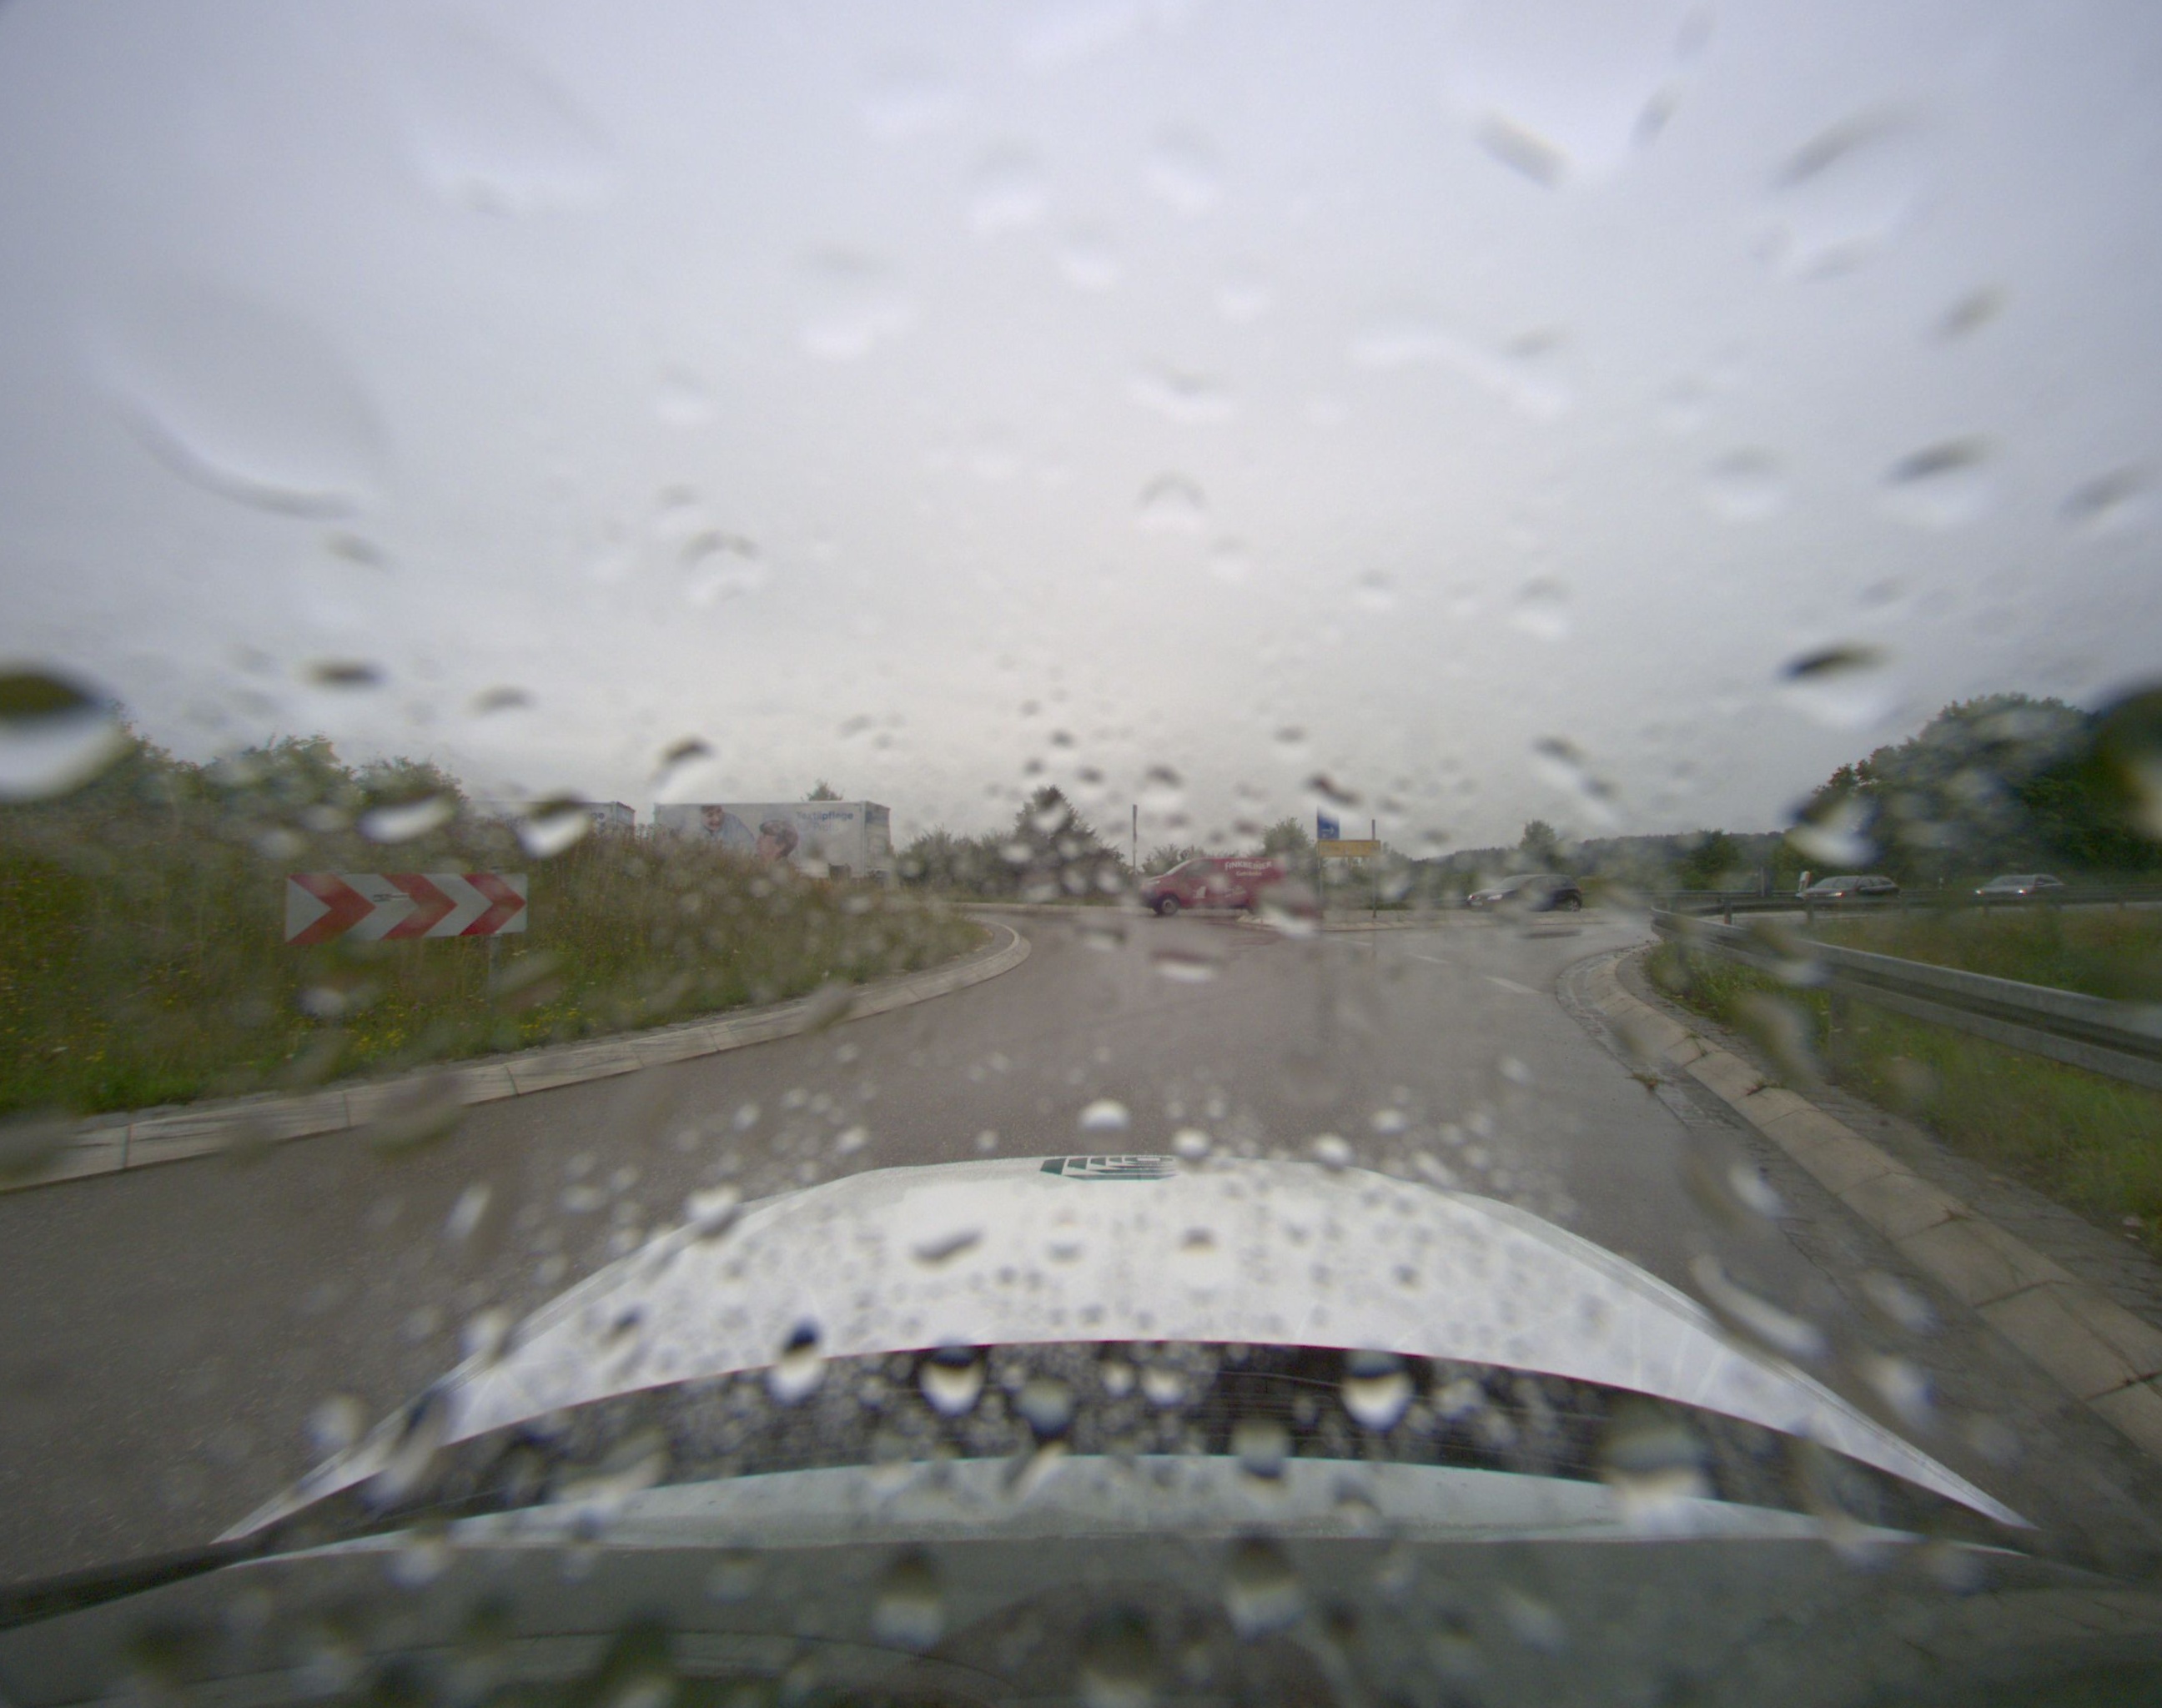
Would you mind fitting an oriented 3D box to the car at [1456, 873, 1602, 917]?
[{"bbox_3d":[15.755,1.421,28.666,4.497,1.421,1.864,2,-1,-15],"label":"car"}]

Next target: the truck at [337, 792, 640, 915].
[{"bbox_3d":[-19.566,0.026,27.492,7.675,3.819,2.795,0,-2,-14],"label":"truck"}]

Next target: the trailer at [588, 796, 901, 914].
[{"bbox_3d":[-11.417,0.078,28.189,9.640,3.819,2.844,0,-2,3],"label":"trailer"}]

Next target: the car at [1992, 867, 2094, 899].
[{"bbox_3d":[45.624,1.385,38.639,4.505,1.421,1.752,2,-1,-21],"label":"car"}]

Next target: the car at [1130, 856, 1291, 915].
[{"bbox_3d":[4.235,1.036,27.078,4.954,1.870,1.996,1,-1,-5],"label":"car"}]

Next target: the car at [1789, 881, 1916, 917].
[{"bbox_3d":[32.217,1.876,34.028,4.499,1.371,1.938,2,-1,-17],"label":"car"}]
